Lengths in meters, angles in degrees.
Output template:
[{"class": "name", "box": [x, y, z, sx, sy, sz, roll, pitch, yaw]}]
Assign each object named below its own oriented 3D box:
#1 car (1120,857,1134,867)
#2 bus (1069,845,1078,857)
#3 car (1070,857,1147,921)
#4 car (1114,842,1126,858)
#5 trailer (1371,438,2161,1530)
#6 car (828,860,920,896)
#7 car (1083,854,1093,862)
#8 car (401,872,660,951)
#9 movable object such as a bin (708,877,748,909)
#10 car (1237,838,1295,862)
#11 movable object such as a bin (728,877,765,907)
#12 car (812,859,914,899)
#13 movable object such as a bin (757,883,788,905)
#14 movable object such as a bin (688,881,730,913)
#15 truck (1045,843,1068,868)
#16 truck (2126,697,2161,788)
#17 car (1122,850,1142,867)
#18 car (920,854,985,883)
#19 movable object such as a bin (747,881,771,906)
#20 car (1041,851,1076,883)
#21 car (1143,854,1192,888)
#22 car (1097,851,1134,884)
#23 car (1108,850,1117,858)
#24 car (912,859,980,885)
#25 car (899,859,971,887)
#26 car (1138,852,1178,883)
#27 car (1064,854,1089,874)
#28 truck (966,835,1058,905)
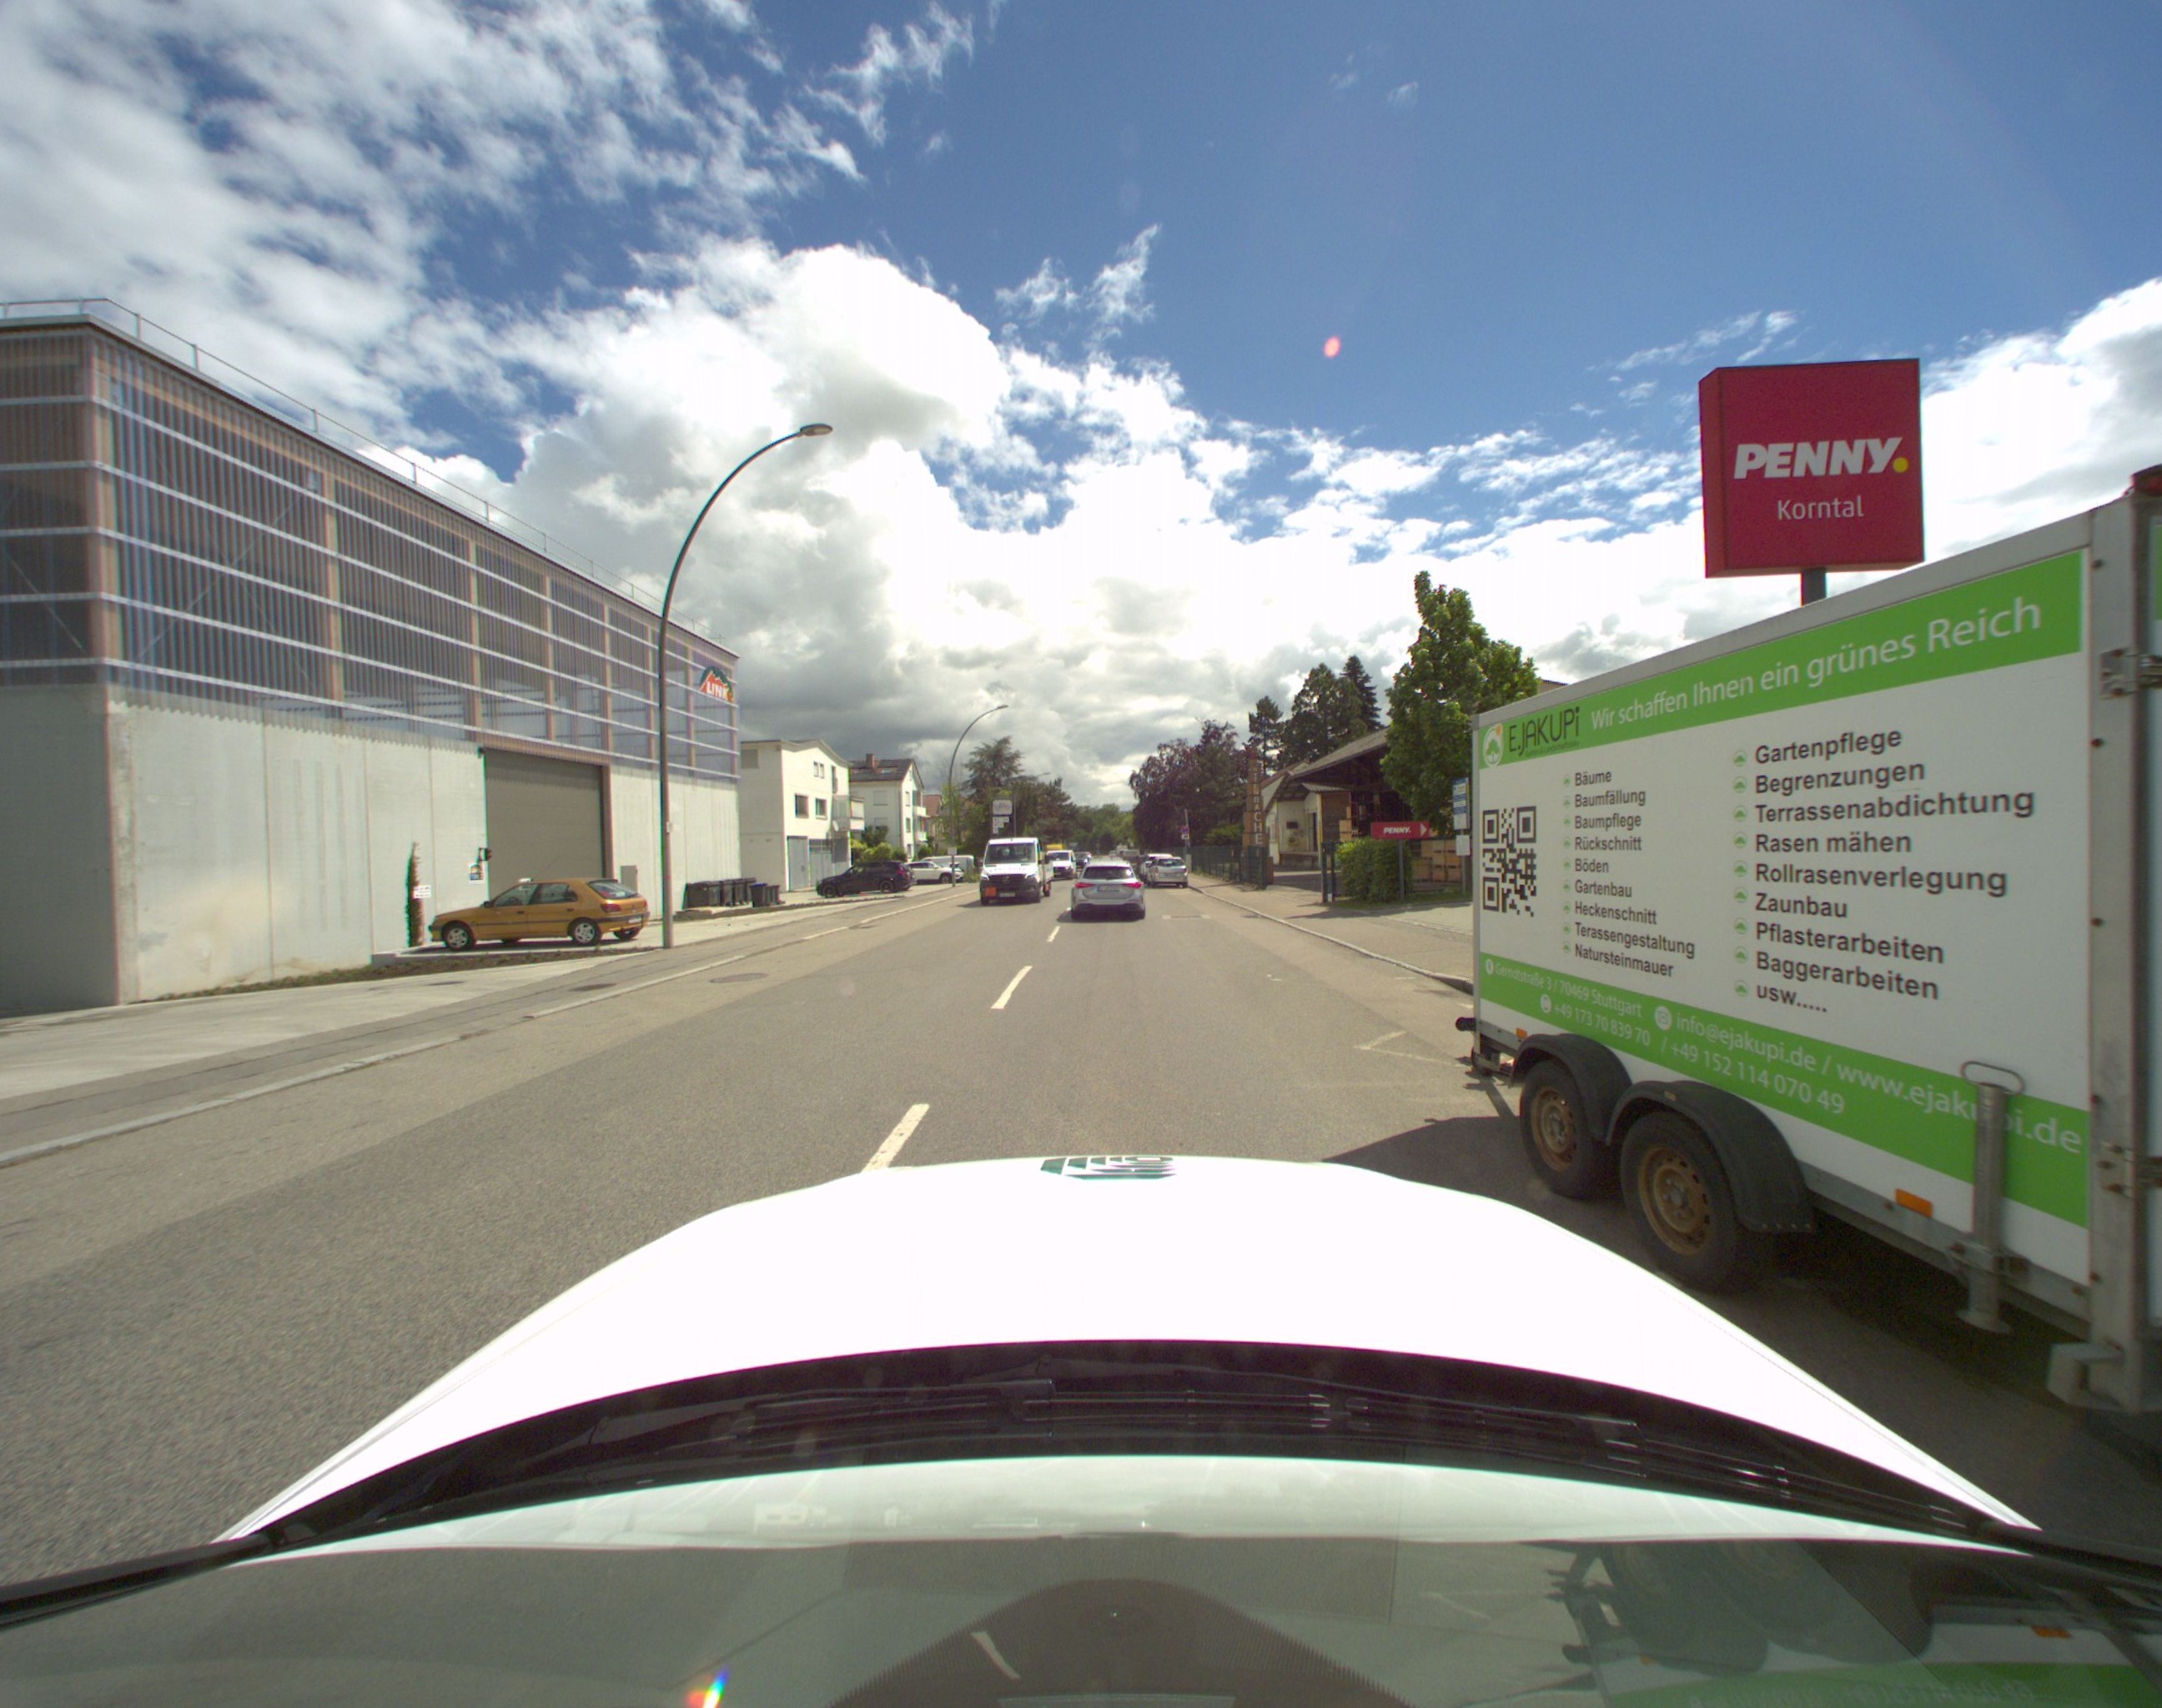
[{"class": "car", "box": [6.670, 1.134, 118.661, 1.779, 1.484, 4.315, -1, -1, 0]}, {"class": "bus", "box": [-2.104, -0.825, 223.419, 1.989, 3.364, 6.973, 1, 0, -3]}, {"class": "car", "box": [0.638, 0.844, 21.233, 1.779, 1.484, 4.315, -1, -1, 0]}, {"class": "car", "box": [6.459, -0.610, 135.897, 1.779, 2.518, 4.315, -1, -1, 0]}, {"class": "trailer", "box": [3.187, 0.236, 3.947, 1.935, 2.294, 4.445, -2, 0, 0]}, {"class": "car", "box": [-11.276, 1.305, 44.620, 4.450, 1.505, 1.824, -5, 0, -2]}, {"class": "car", "box": [1.412, 0.899, 167.312, 1.927, 1.492, 4.365, -3, 0, 1]}, {"class": "car", "box": [-11.464, 1.173, 17.196, 4.139, 1.492, 1.824, 1, 0, -2]}, {"class": "movable object such as a bin", "box": [-16.685, 1.825, 38.576, 0.953, 1.356, 1.820, -3, 0, 3]}, {"class": "car", "box": [17.293, -0.338, 76.452, 4.994, 1.929, 2.003, -3, 0, 4]}, {"class": "movable object such as a bin", "box": [-16.586, 1.850, 40.448, 0.953, 1.356, 1.820, -2, 0, 3]}, {"class": "car", "box": [-11.205, 1.258, 42.136, 4.615, 1.632, 2.196, -5, 0, -2]}, {"class": "movable object such as a bin", "box": [-14.268, 1.831, 37.735, 0.740, 0.919, 1.520, -3, 0, 3]}, {"class": "movable object such as a bin", "box": [-16.750, 1.916, 36.707, 0.953, 1.356, 1.820, 1, 0, 3]}, {"class": "truck", "box": [-2.887, 0.118, 97.178, 2.066, 2.814, 7.083, -3, 0, 3]}, {"class": "truck", "box": [40.928, -3.602, 25.623, 11.933, 2.865, 2.981, 1, 0, 2]}, {"class": "car", "box": [6.133, 0.528, 98.611, 2.136, 1.984, 5.263, -2, 0, 2]}, {"class": "car", "box": [-9.148, 1.029, 58.261, 4.265, 1.836, 1.991, -2, -3, 0]}, {"class": "movable object such as a bin", "box": [-14.469, 1.778, 36.622, 0.740, 1.030, 0.712, -3, 0, 3]}, {"class": "car", "box": [-1.397, 0.761, 52.481, 1.986, 1.888, 5.118, -2, 0, 1]}, {"class": "car", "box": [4.155, 0.798, 39.724, 1.786, 1.450, 4.362, -3, 0, -1]}, {"class": "car", "box": [1.729, 0.666, 41.887, 1.750, 1.558, 4.000, -1, 0, 0]}, {"class": "car", "box": [6.774, -0.037, 174.423, 1.749, 1.558, 4.001, -1, 0, 1]}, {"class": "car", "box": [-9.212, 1.255, 55.720, 4.265, 1.567, 1.991, -2, -3, 0]}, {"class": "car", "box": [-9.460, 1.255, 52.934, 4.263, 1.567, 1.992, -2, -3, 1]}, {"class": "car", "box": [4.232, 0.705, 45.219, 1.785, 1.552, 4.574, -3, 0, 1]}, {"class": "car", "box": [-0.402, 0.897, 75.118, 1.985, 1.733, 4.552, -3, 0, 3]}, {"class": "truck", "box": [-2.324, 0.498, 29.569, 2.309, 2.178, 6.455, -3, 0, 4]}]
